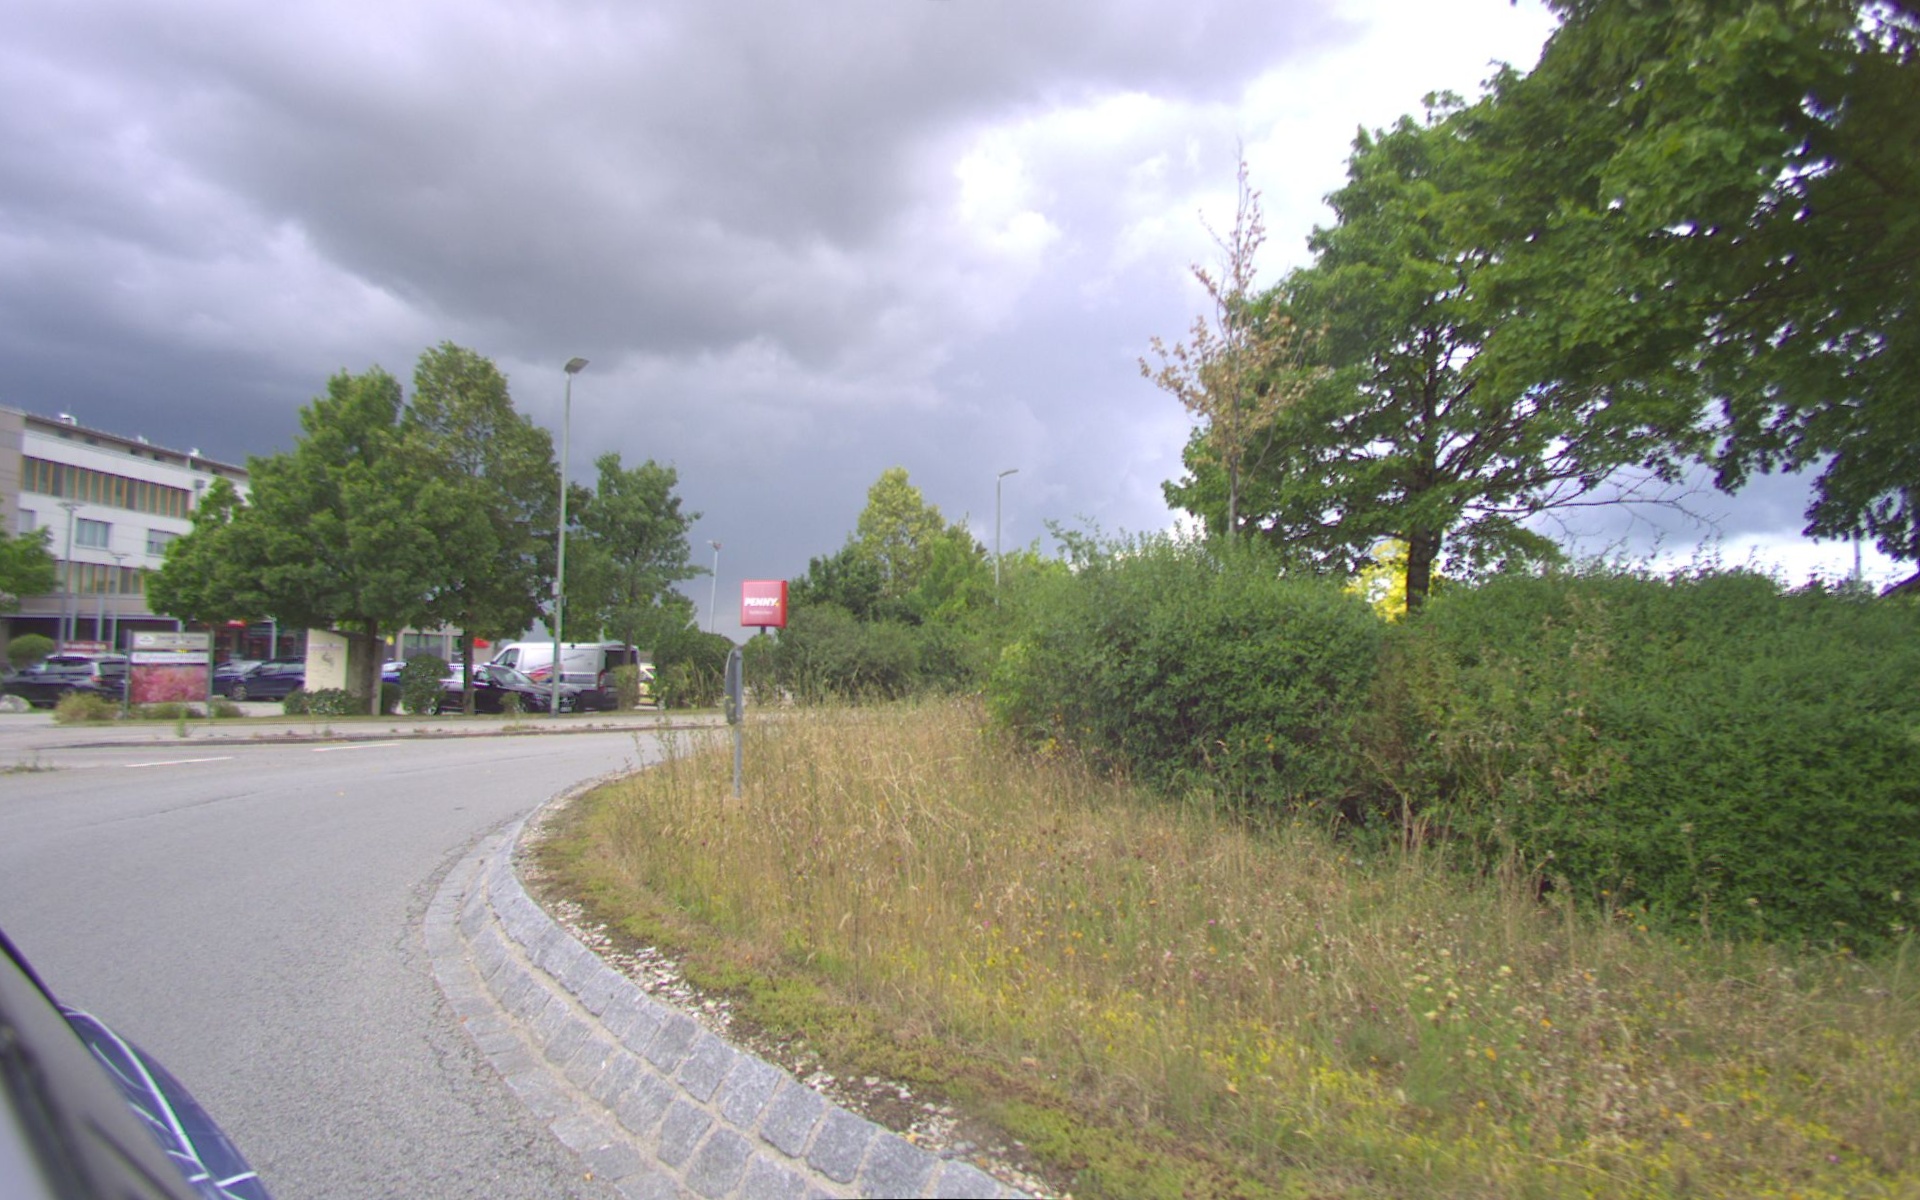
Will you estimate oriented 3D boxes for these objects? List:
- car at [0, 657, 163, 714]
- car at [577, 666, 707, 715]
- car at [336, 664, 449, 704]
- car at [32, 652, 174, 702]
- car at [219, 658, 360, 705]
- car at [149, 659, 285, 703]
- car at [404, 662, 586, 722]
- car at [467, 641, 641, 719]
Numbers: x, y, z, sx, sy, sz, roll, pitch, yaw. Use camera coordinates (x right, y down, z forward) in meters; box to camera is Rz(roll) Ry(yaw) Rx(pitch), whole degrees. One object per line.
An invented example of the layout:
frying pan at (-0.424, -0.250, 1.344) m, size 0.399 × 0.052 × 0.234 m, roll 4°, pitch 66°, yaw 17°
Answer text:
car at (-24.557, 2.343, 27.996) m, size 3.960 × 1.468 × 1.814 m, roll 0°, pitch -4°, yaw 13°
car at (-10.898, 3.096, 34.799) m, size 3.901 × 1.568 × 1.754 m, roll 0°, pitch -5°, yaw 15°
car at (-22.374, 3.301, 39.961) m, size 3.754 × 1.516 × 1.652 m, roll -1°, pitch -4°, yaw 13°
car at (-29.094, 2.622, 34.364) m, size 4.055 × 1.522 × 1.863 m, roll -4°, pitch -5°, yaw 19°
car at (-23.223, 2.797, 35.103) m, size 3.960 × 1.554 × 1.814 m, roll -1°, pitch -4°, yaw 13°
car at (-29.163, 3.192, 39.810) m, size 4.030 × 1.551 × 1.779 m, roll -2°, pitch -4°, yaw 1°
car at (-12.726, 2.501, 27.760) m, size 4.374 × 1.505 × 1.754 m, roll 0°, pitch -4°, yaw 15°
car at (-12.128, 2.368, 30.381) m, size 4.374 × 2.175 × 2.146 m, roll 0°, pitch -4°, yaw 14°
